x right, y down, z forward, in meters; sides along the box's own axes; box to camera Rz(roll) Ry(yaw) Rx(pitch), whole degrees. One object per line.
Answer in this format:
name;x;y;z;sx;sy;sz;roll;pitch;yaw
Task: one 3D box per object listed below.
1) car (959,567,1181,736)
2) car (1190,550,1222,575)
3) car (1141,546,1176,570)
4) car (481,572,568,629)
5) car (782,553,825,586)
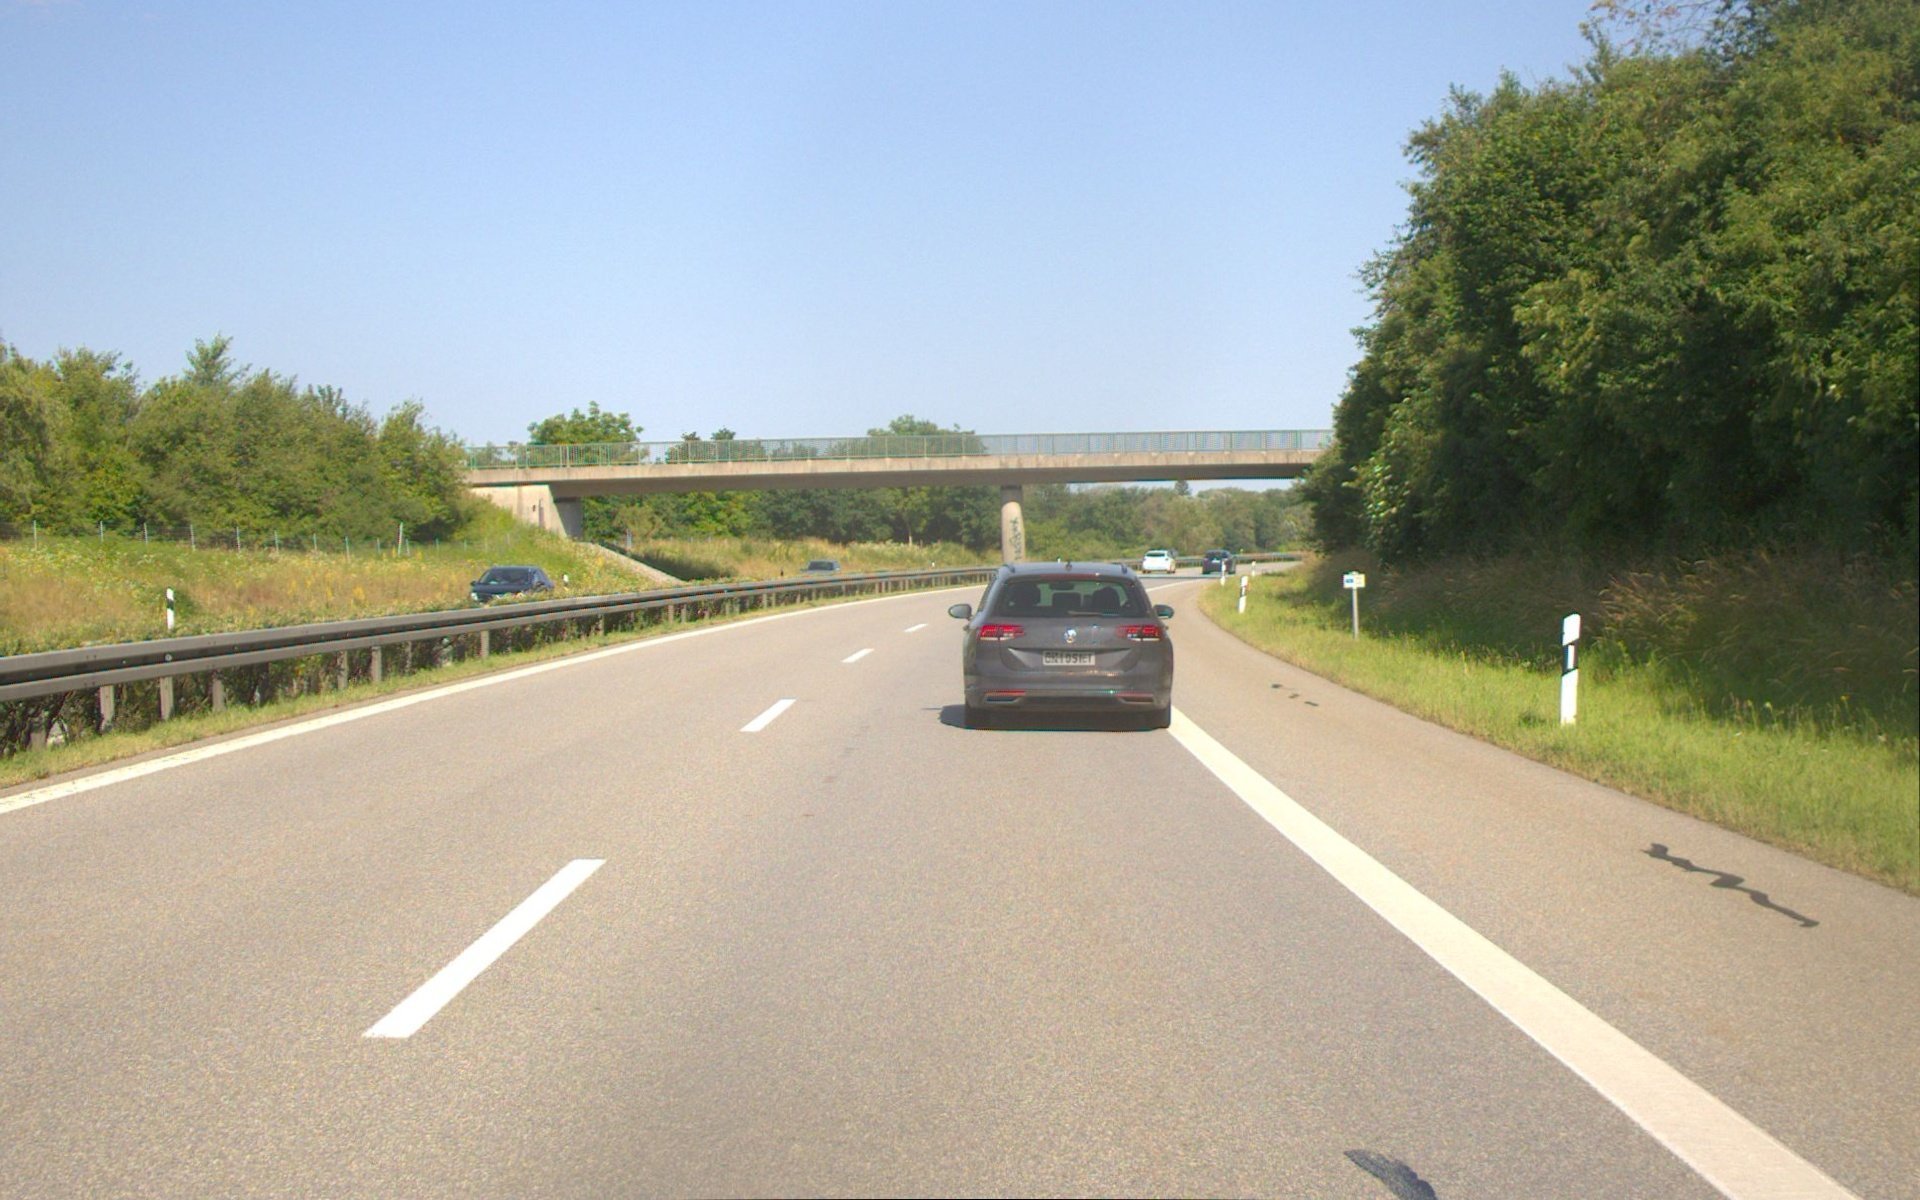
car;0.932;0.404;30.262;1.791;1.340;4.000;2;1;1
car;15.188;-2.311;212.235;1.710;1.382;3.355;2;-1;0
car;12.278;-2.571;212.999;2.007;1.340;4.000;2;-1;1
car;-12.069;-0.008;95.444;1.831;1.503;4.542;1;0;0
car;-7.421;-1.450;163.398;1.831;1.503;4.542;1;0;0
